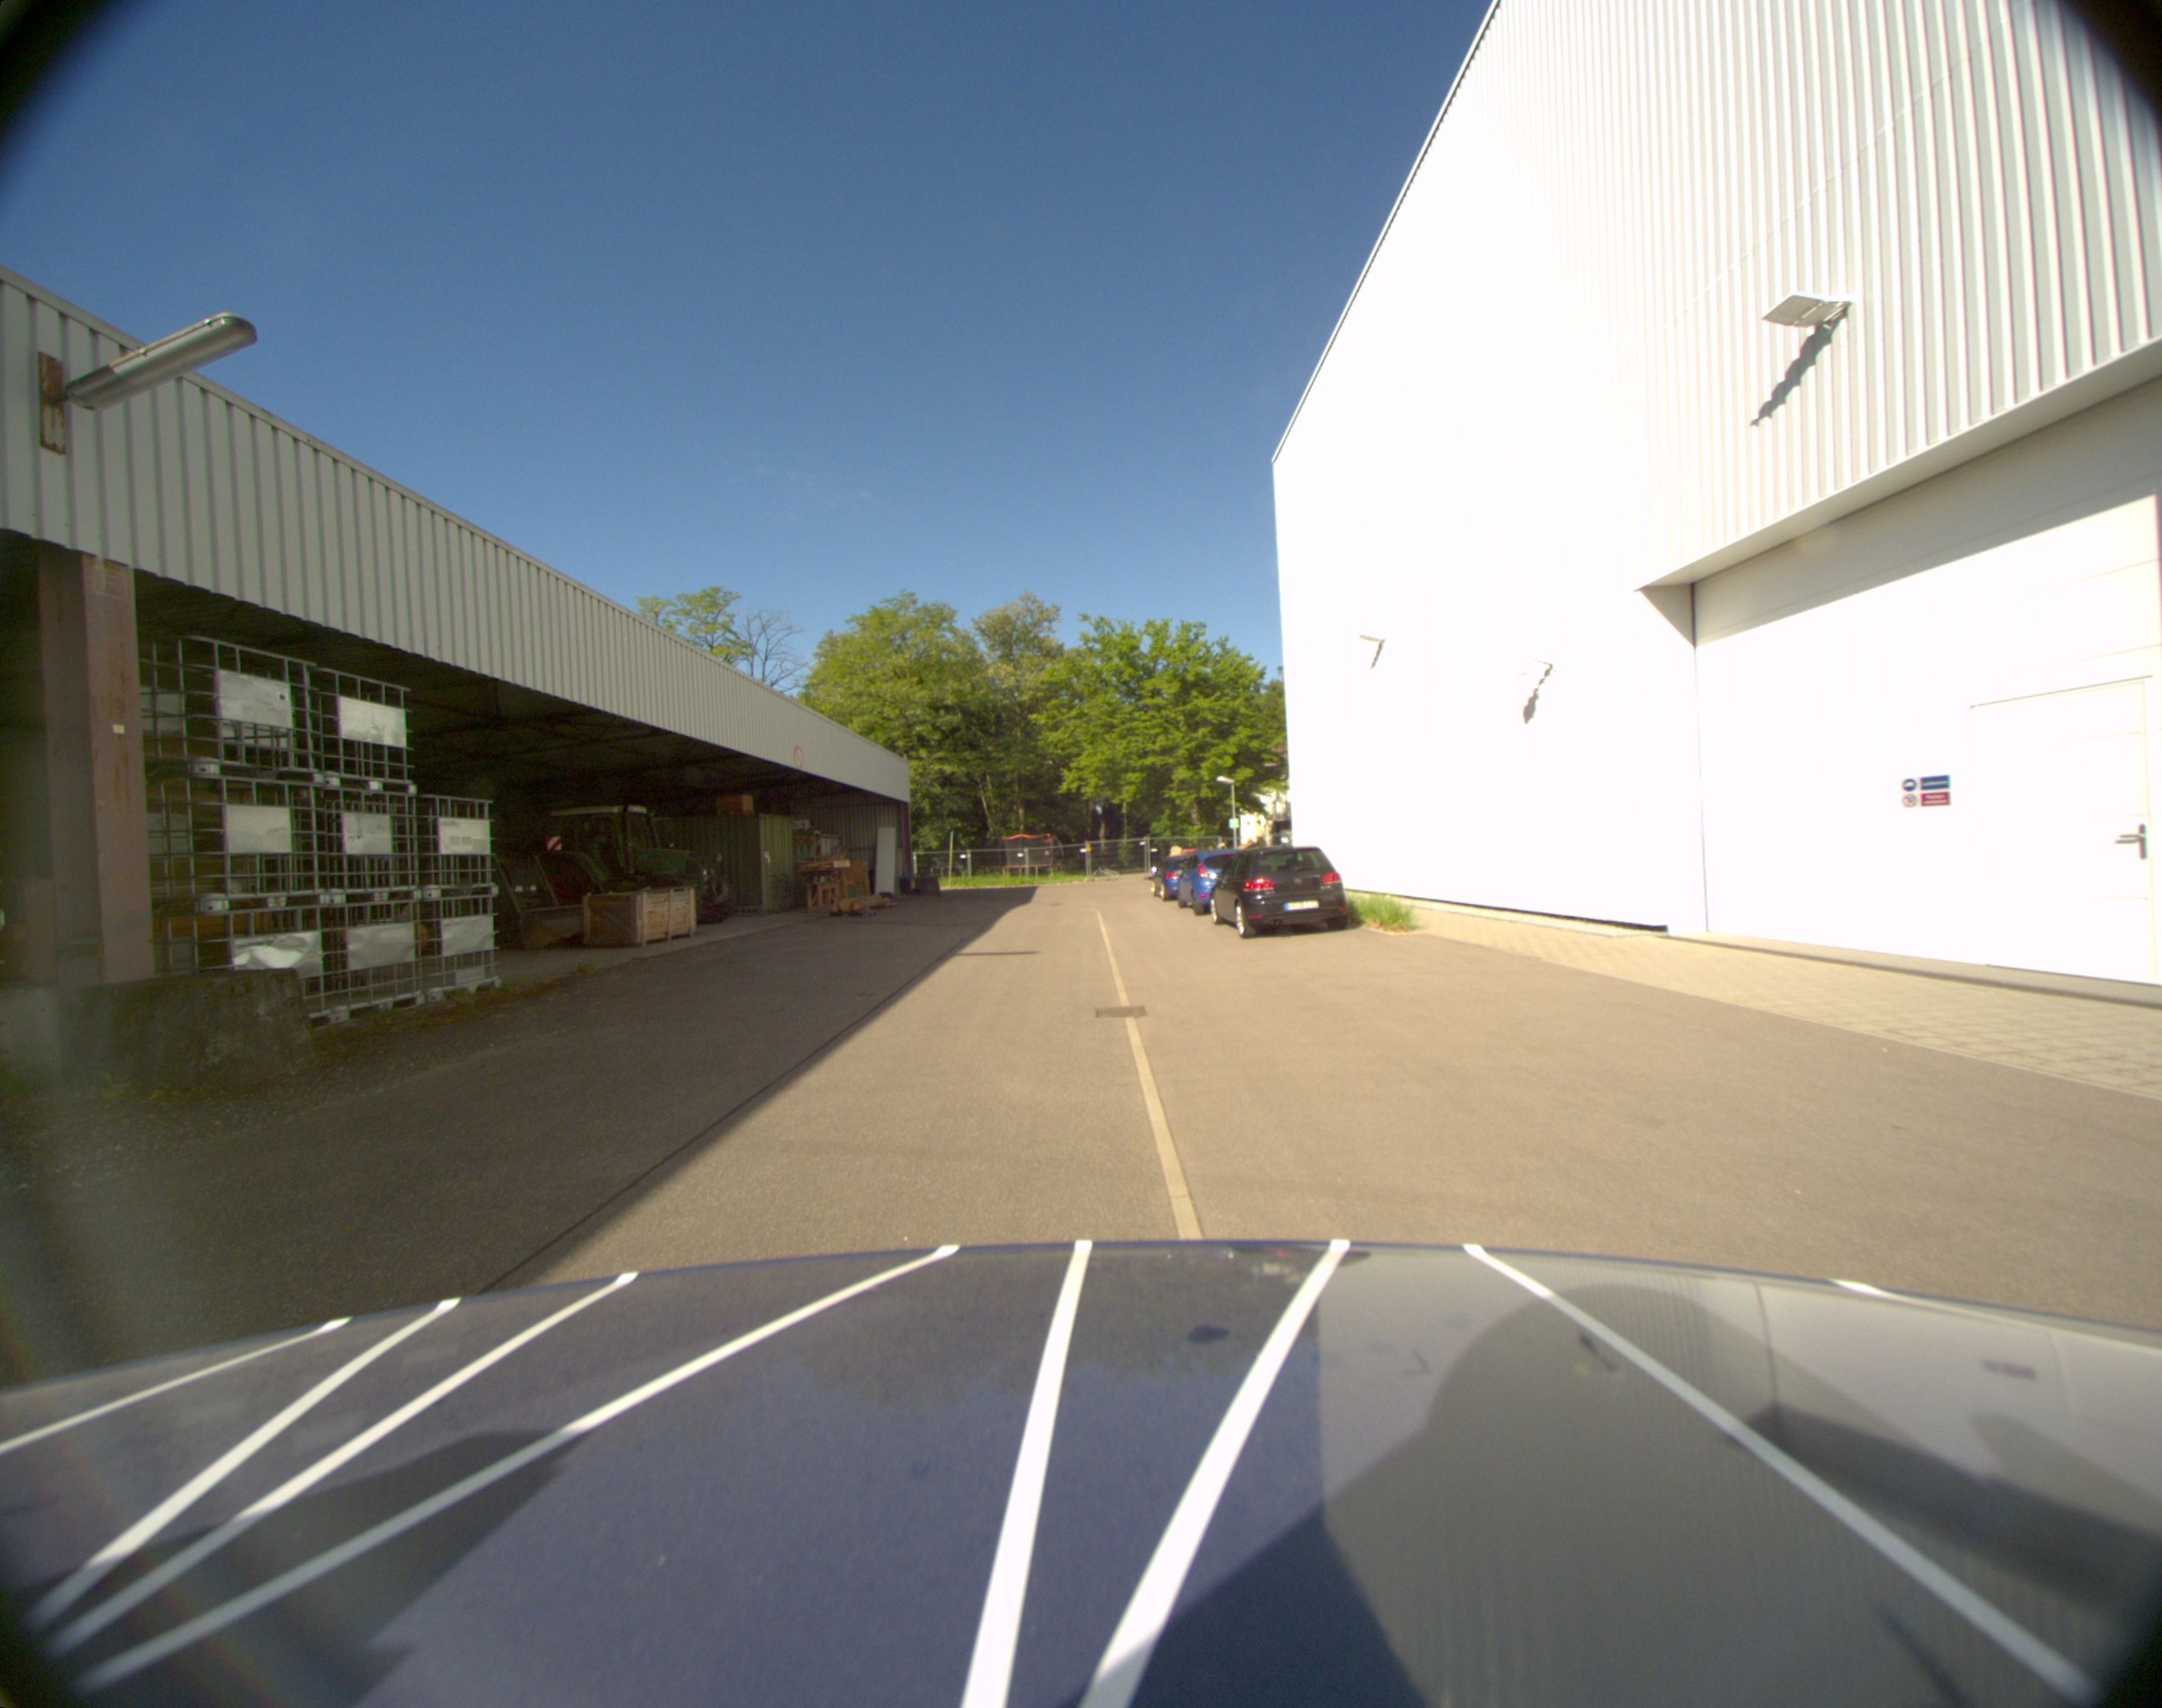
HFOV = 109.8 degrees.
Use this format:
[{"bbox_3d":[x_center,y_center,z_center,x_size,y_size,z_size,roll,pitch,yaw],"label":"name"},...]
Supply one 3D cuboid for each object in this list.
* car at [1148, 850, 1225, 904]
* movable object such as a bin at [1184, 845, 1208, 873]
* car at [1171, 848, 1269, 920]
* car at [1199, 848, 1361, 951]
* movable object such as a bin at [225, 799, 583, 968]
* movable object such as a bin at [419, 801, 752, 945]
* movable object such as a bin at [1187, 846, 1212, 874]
[{"bbox_3d":[3.245,0.694,24.043,1.716,1.440,3.798,-4,0,-1],"label":"car"},{"bbox_3d":[6.216,0.289,41.143,1.141,1.469,1.280,-1,0,1],"label":"movable object such as a bin"},{"bbox_3d":[3.276,0.668,18.531,1.552,1.480,3.522,-4,0,-1],"label":"car"},{"bbox_3d":[3.398,0.710,13.859,1.760,1.437,4.315,-5,0,1],"label":"car"},{"bbox_3d":[-12.693,0.518,14.569,4.537,2.814,2.497,-2,0,1],"label":"movable object such as a bin"},{"bbox_3d":[-11.331,0.415,17.837,5.848,2.908,2.820,-2,0,1],"label":"movable object such as a bin"},{"bbox_3d":[6.194,0.291,39.779,1.141,1.426,1.289,-1,0,1],"label":"movable object such as a bin"}]
